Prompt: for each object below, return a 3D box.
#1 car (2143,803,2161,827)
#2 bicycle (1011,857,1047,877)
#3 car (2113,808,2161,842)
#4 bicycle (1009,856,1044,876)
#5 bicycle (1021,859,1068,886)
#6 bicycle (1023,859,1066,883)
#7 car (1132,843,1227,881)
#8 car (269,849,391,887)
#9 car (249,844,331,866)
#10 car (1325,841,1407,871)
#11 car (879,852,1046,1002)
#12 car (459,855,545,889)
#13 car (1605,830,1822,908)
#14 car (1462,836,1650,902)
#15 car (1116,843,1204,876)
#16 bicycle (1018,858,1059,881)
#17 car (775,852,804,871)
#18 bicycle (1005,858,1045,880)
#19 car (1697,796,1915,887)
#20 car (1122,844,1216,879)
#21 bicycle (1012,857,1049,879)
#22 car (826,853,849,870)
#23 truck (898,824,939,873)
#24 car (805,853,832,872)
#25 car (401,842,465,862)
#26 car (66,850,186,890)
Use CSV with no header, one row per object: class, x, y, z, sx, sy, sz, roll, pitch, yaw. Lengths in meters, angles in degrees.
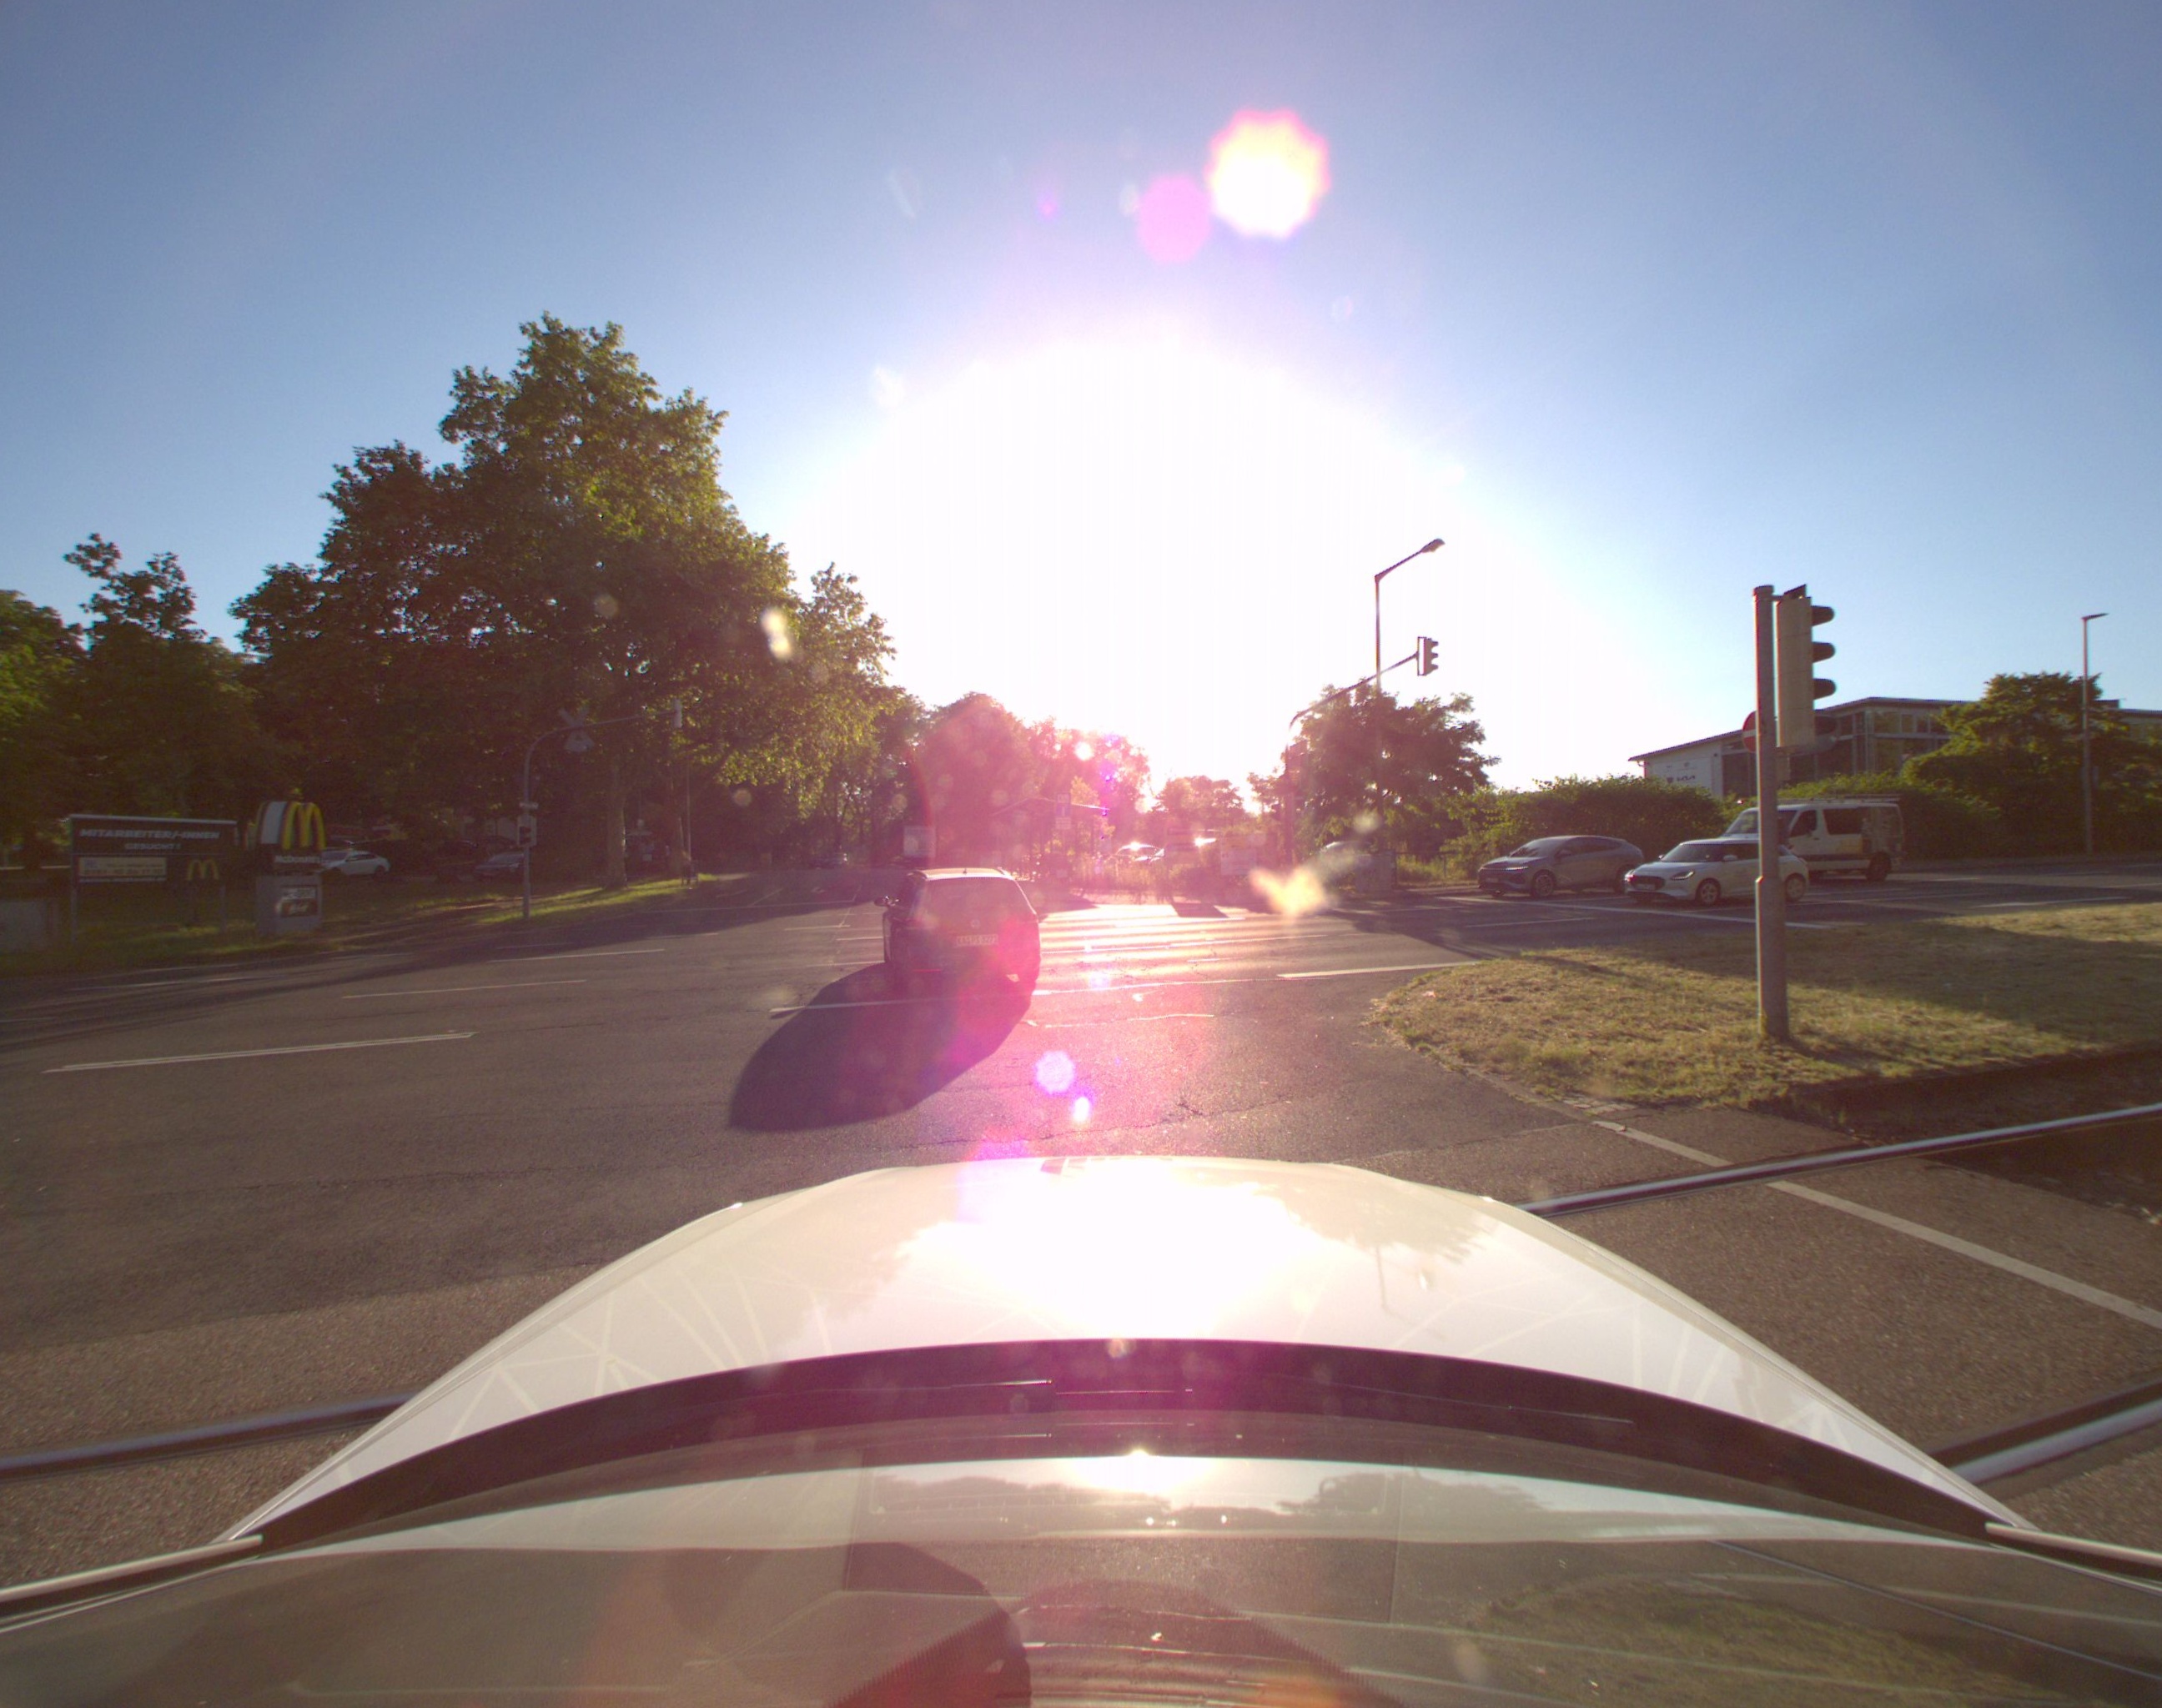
car,62.749,-2.242,45.653,1.766,1.388,3.761,-1,1,-32
bicycle,-2.763,0.682,43.260,1.887,1.038,0.542,-2,0,-10
car,59.786,-1.603,44.697,1.766,1.859,3.761,-1,1,-32
bicycle,-2.987,0.667,44.546,1.887,1.038,0.542,-2,0,-10
bicycle,-1.538,0.766,34.320,1.889,1.038,0.542,-2,0,-13
bicycle,-1.661,0.761,37.265,1.889,1.038,0.542,-2,0,-13
car,4.659,0.360,38.686,3.994,1.648,2.110,-1,1,-15
car,-37.052,0.648,40.393,1.992,1.706,4.886,-1,1,-8
car,-58.544,0.064,60.363,4.013,1.552,1.790,-2,1,-31
car,16.565,0.080,47.416,3.980,1.636,2.117,-1,1,-5
car,-1.799,0.793,11.133,1.827,1.555,4.238,-1,1,-14
car,-29.713,0.886,41.974,2.039,1.574,4.383,-2,1,-13
car,14.619,0.307,18.895,3.991,1.618,1.868,-1,1,-13
car,13.259,0.374,22.794,4.540,1.618,1.867,-1,1,-15
car,4.306,0.275,44.543,4.314,1.648,2.110,-1,1,-15
bicycle,-2.045,0.749,39.444,1.889,1.038,0.542,-2,0,-13
car,-26.262,0.670,73.480,1.847,1.552,3.984,-1,1,-12
bicycle,-2.763,0.733,40.165,1.889,1.038,0.542,-2,0,-13
car,22.227,-0.404,25.001,5.864,2.565,2.001,-1,1,-14
car,4.463,0.333,41.642,4.314,1.648,2.110,-1,1,-15
bicycle,-2.606,0.724,42.022,1.887,1.038,0.542,-2,0,-10
car,-24.947,0.757,83.520,1.847,1.552,3.984,-1,1,-12
truck,-14.011,-0.524,70.647,3.185,3.875,11.060,-1,1,-10
car,-23.133,0.695,71.898,1.847,1.552,3.984,-1,1,-12
car,-55.251,-0.203,69.538,4.015,1.552,1.789,-2,1,-33
car,-44.763,0.699,38.306,1.829,1.687,4.195,-2,1,-21
